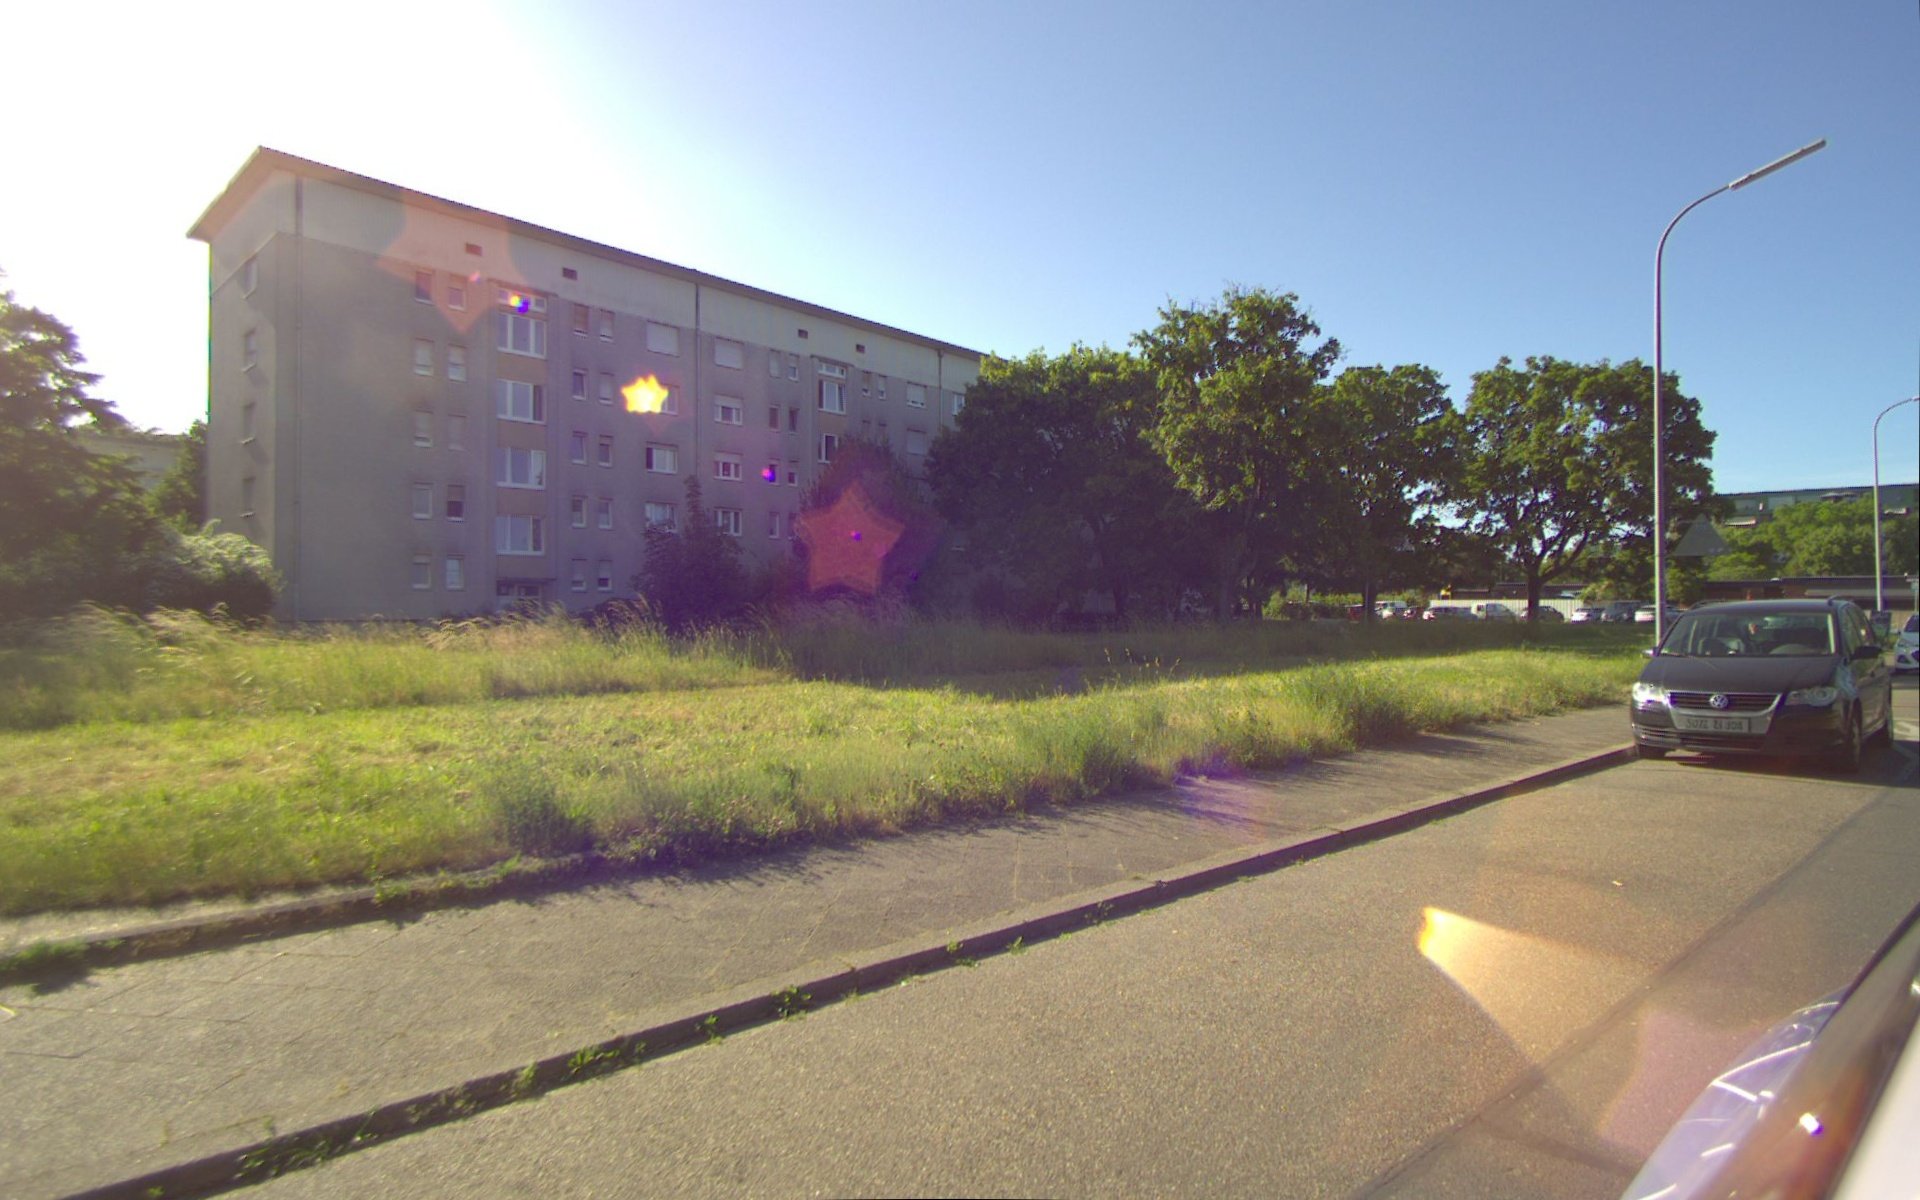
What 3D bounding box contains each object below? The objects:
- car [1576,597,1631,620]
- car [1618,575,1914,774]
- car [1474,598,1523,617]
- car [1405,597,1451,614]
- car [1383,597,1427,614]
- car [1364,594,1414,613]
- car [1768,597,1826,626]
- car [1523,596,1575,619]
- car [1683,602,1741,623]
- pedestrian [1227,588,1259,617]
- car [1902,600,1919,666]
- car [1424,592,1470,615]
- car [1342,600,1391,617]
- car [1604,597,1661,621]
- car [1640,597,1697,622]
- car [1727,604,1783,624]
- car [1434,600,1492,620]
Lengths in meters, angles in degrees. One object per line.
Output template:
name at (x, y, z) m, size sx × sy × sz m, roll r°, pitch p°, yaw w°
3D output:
car at (50.799, 0.675, 79.871) m, size 3.918 × 1.796 × 1.960 m, roll 0°, pitch 0°, yaw -27°
car at (8.675, 0.647, 10.745) m, size 4.393 × 1.673 × 1.840 m, roll 0°, pitch -1°, yaw -43°
car at (47.076, 0.623, 88.447) m, size 3.918 × 1.581 × 1.960 m, roll 0°, pitch 0°, yaw -27°
car at (44.094, 0.514, 95.399) m, size 3.918 × 1.581 × 1.960 m, roll 0°, pitch 0°, yaw -27°
car at (42.976, 0.490, 97.696) m, size 3.918 × 1.581 × 1.803 m, roll 0°, pitch 0°, yaw -28°
car at (42.414, 0.351, 100.091) m, size 4.605 × 1.767 × 1.961 m, roll 0°, pitch 0°, yaw -24°
car at (56.521, 0.740, 68.332) m, size 3.922 × 1.883 × 1.958 m, roll 0°, pitch 0°, yaw -33°
car at (49.081, 0.598, 84.351) m, size 3.919 × 1.795 × 1.960 m, roll -2°, pitch 1°, yaw -27°
car at (54.354, 0.868, 73.125) m, size 3.918 × 1.488 × 1.868 m, roll 0°, pitch 0°, yaw -27°
pedestrian at (20.112, 0.173, 71.966) m, size 1.668 × 2.057 × 1.490 m, roll 0°, pitch 0°, yaw -38°
car at (23.662, 0.745, 23.891) m, size 3.848 × 1.499 × 1.654 m, roll 0°, pitch -2°, yaw -41°
car at (44.833, 0.339, 93.166) m, size 3.920 × 2.039 × 2.002 m, roll 0°, pitch 0°, yaw -30°
car at (35.556, 0.728, 88.651) m, size 1.958 × 1.469 × 3.646 m, roll 0°, pitch 0°, yaw -23°
car at (51.315, 0.687, 77.229) m, size 3.918 × 1.796 × 1.960 m, roll 0°, pitch 0°, yaw -27°
car at (52.491, 0.719, 74.939) m, size 3.918 × 1.796 × 1.864 m, roll 0°, pitch 0°, yaw -27°
car at (55.257, 0.942, 70.362) m, size 3.920 × 1.341 × 1.783 m, roll 0°, pitch 0°, yaw -31°
car at (39.352, 0.771, 79.235) m, size 1.958 × 1.543 × 3.646 m, roll 0°, pitch 0°, yaw -23°
